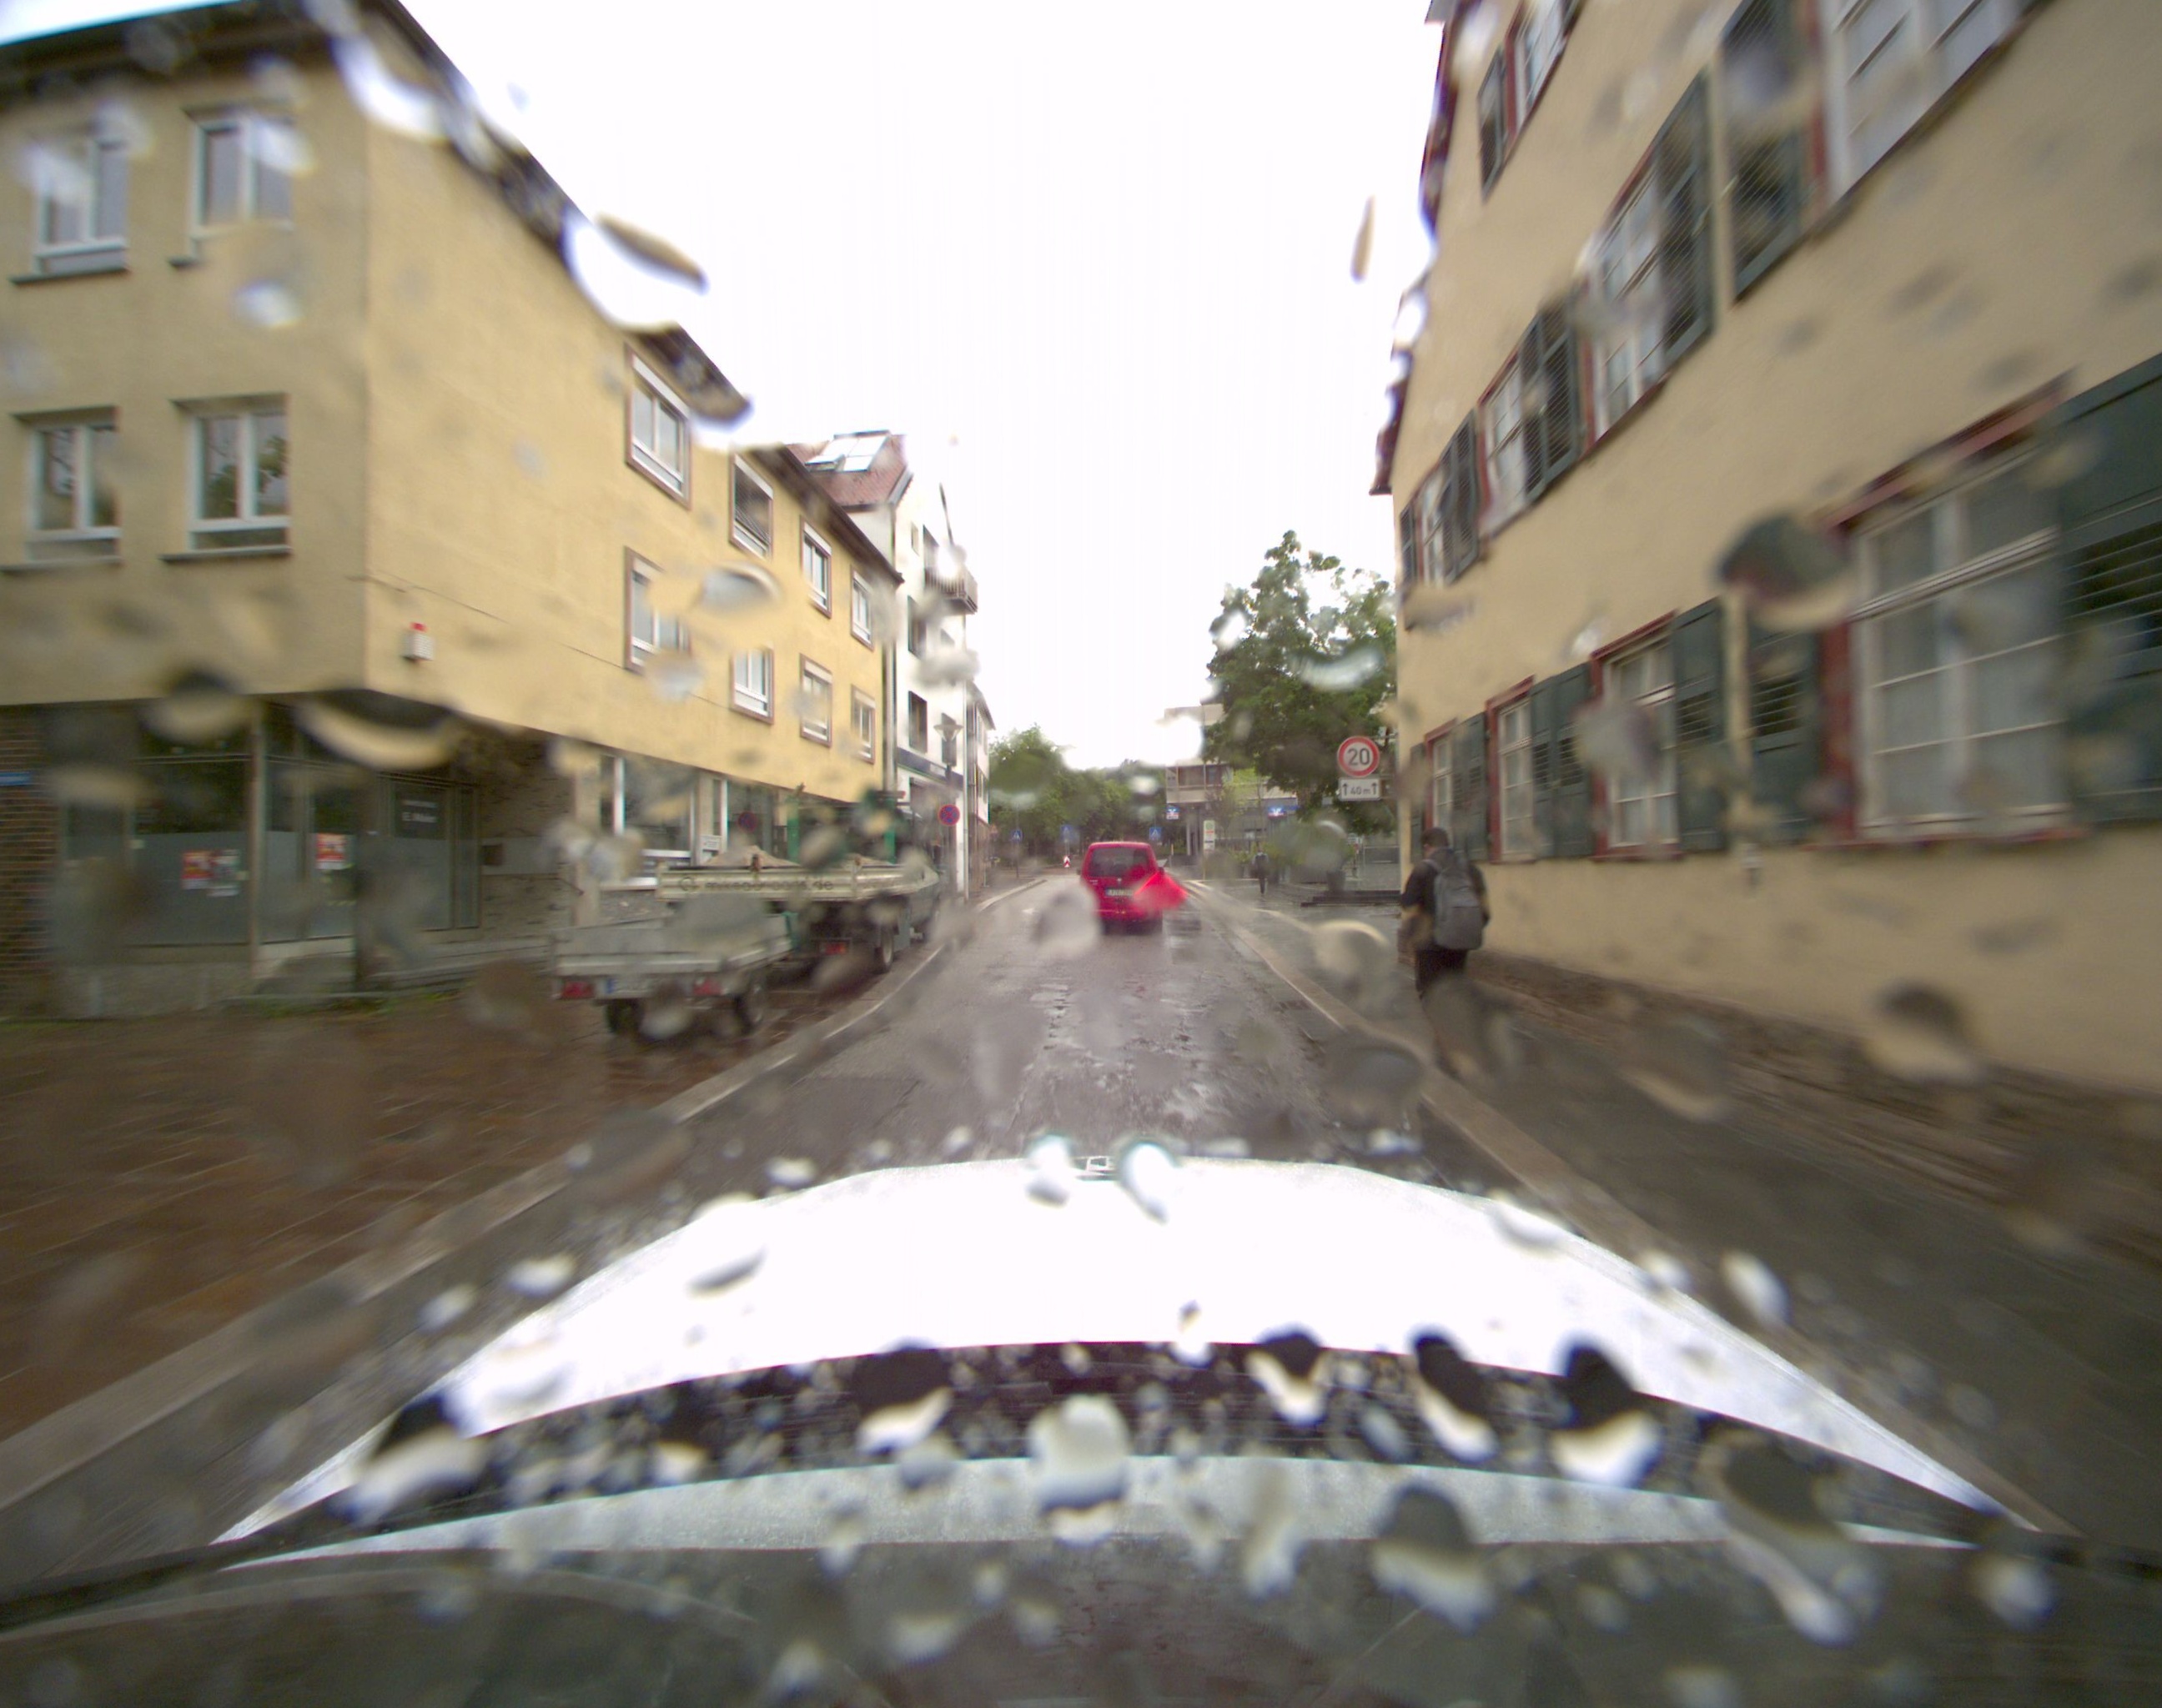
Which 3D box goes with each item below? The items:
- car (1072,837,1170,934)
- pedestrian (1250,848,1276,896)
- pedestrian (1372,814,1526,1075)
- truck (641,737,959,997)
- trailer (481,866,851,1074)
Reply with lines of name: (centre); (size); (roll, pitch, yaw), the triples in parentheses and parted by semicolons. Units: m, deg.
car: (0.811, 0.625, 17.851); (1.856, 1.830, 4.185); (-1, -1, 1)
pedestrian: (6.238, 0.614, 27.926); (0.724, 1.617, 0.695); (-2, -1, 7)
pedestrian: (2.559, 0.592, 5.763); (0.710, 1.693, 0.869); (-2, 0, 5)
truck: (-3.593, 0.107, 12.307); (2.466, 2.795, 6.598); (-2, 1, -1)
trailer: (-3.425, 0.856, 7.440); (1.723, 1.346, 3.159); (-2, 1, -1)
